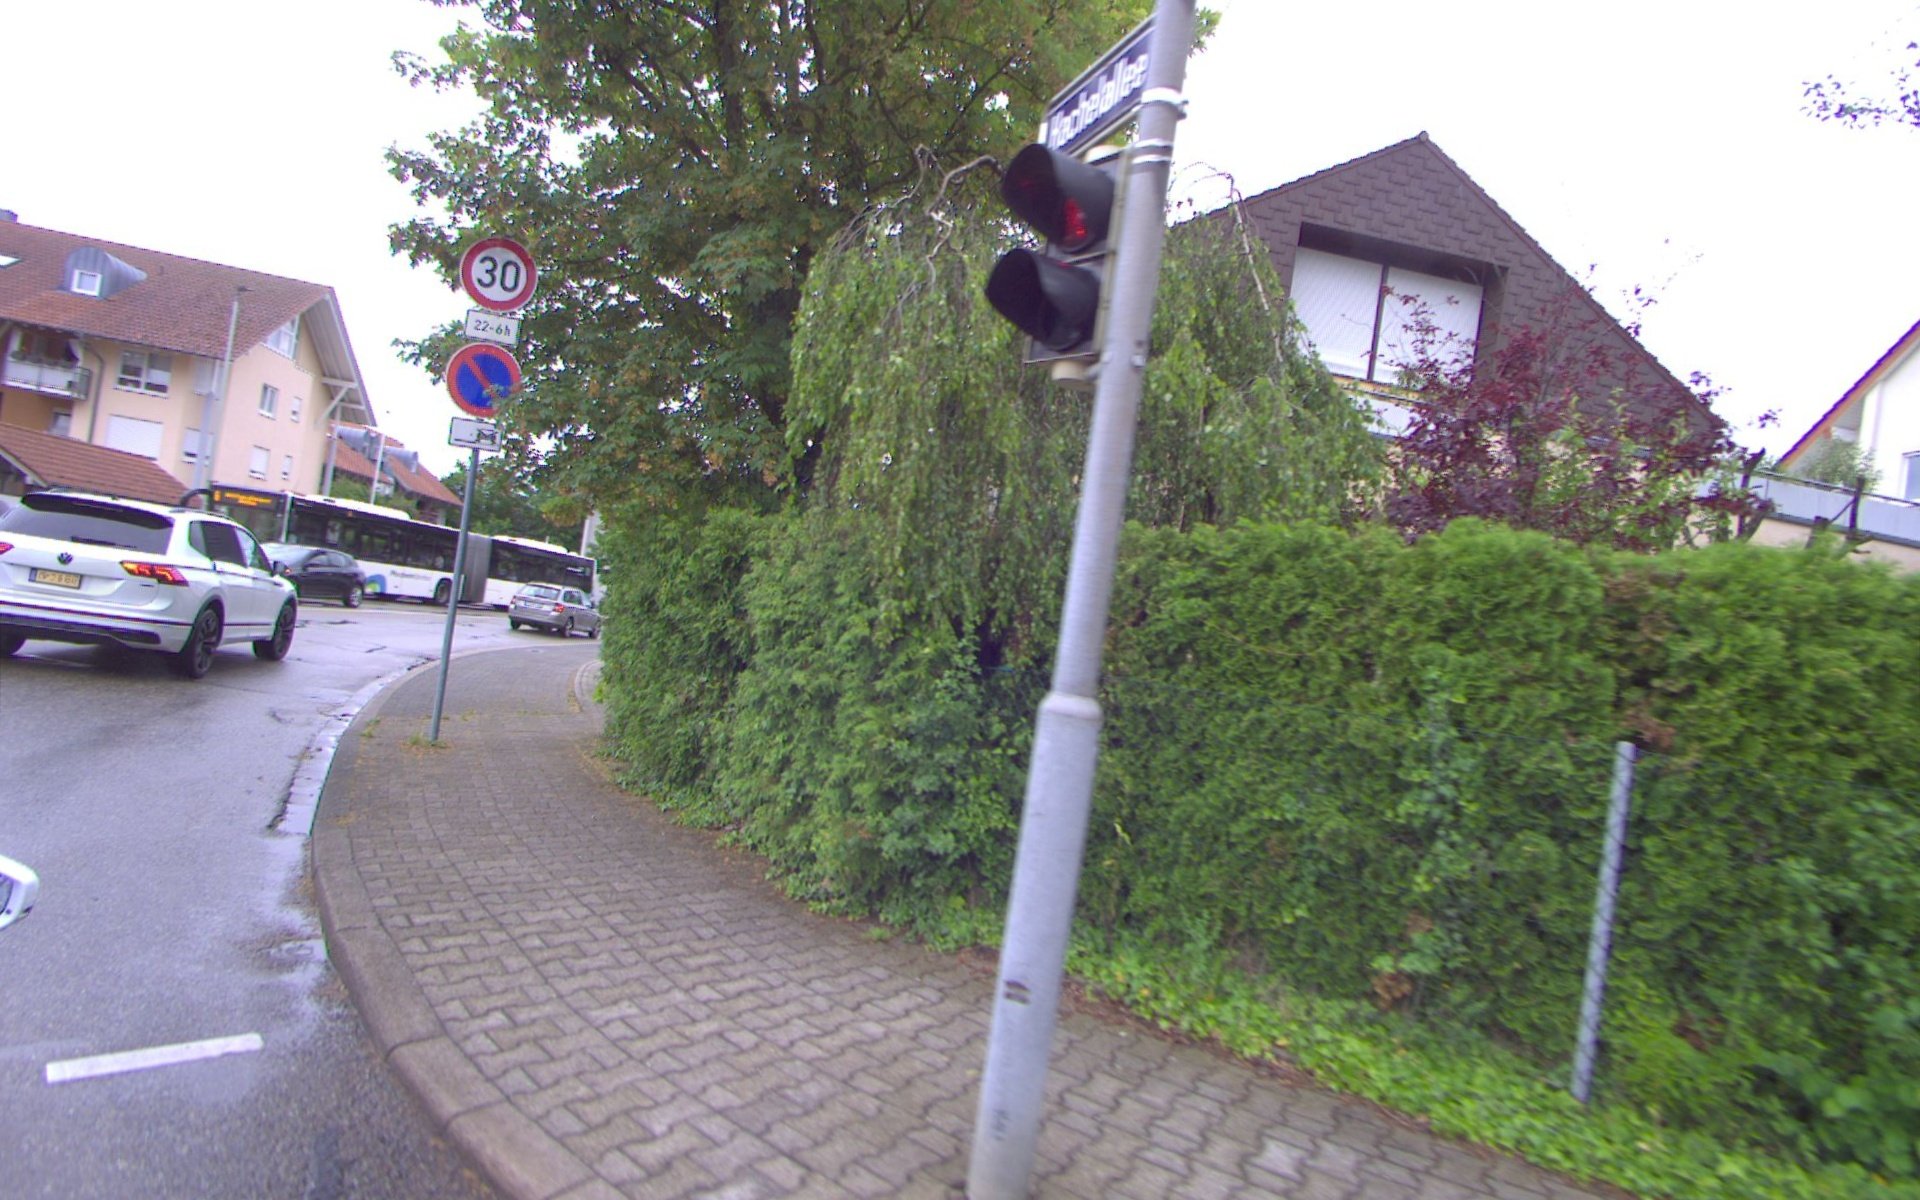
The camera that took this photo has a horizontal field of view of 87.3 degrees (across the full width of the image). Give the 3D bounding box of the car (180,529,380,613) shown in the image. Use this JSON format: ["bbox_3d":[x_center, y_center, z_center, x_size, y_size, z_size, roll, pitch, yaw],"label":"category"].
[{"bbox_3d":[-16.434,-0.612,24.624,1.921,1.536,4.177,7,-2,0],"label":"car"}]

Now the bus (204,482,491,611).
[{"bbox_3d":[-19.319,-1.447,32.759,2.506,3.035,9.213,7,-2,7],"label":"bus"}]

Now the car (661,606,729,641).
[{"bbox_3d":[-13.710,1.246,52.295,1.830,1.536,4.296,6,-1,8],"label":"car"}]

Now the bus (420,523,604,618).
[{"bbox_3d":[-18.132,-1.030,41.530,2.544,3.035,8.414,7,-1,8],"label":"bus"}]

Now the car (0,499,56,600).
[{"bbox_3d":[-15.539,-0.950,14.351,1.797,1.503,3.937,8,-3,-6],"label":"car"}]

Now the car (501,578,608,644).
[{"bbox_3d":[-12.097,0.407,30.316,1.741,1.525,4.002,10,-4,-6],"label":"car"}]

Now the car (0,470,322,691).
[{"bbox_3d":[-8.741,-0.203,10.921,1.901,1.741,4.249,10,-3,-19],"label":"car"}]

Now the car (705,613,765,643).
[{"bbox_3d":[-13.531,1.728,60.723,1.564,1.438,3.696,7,-2,22],"label":"car"}]
